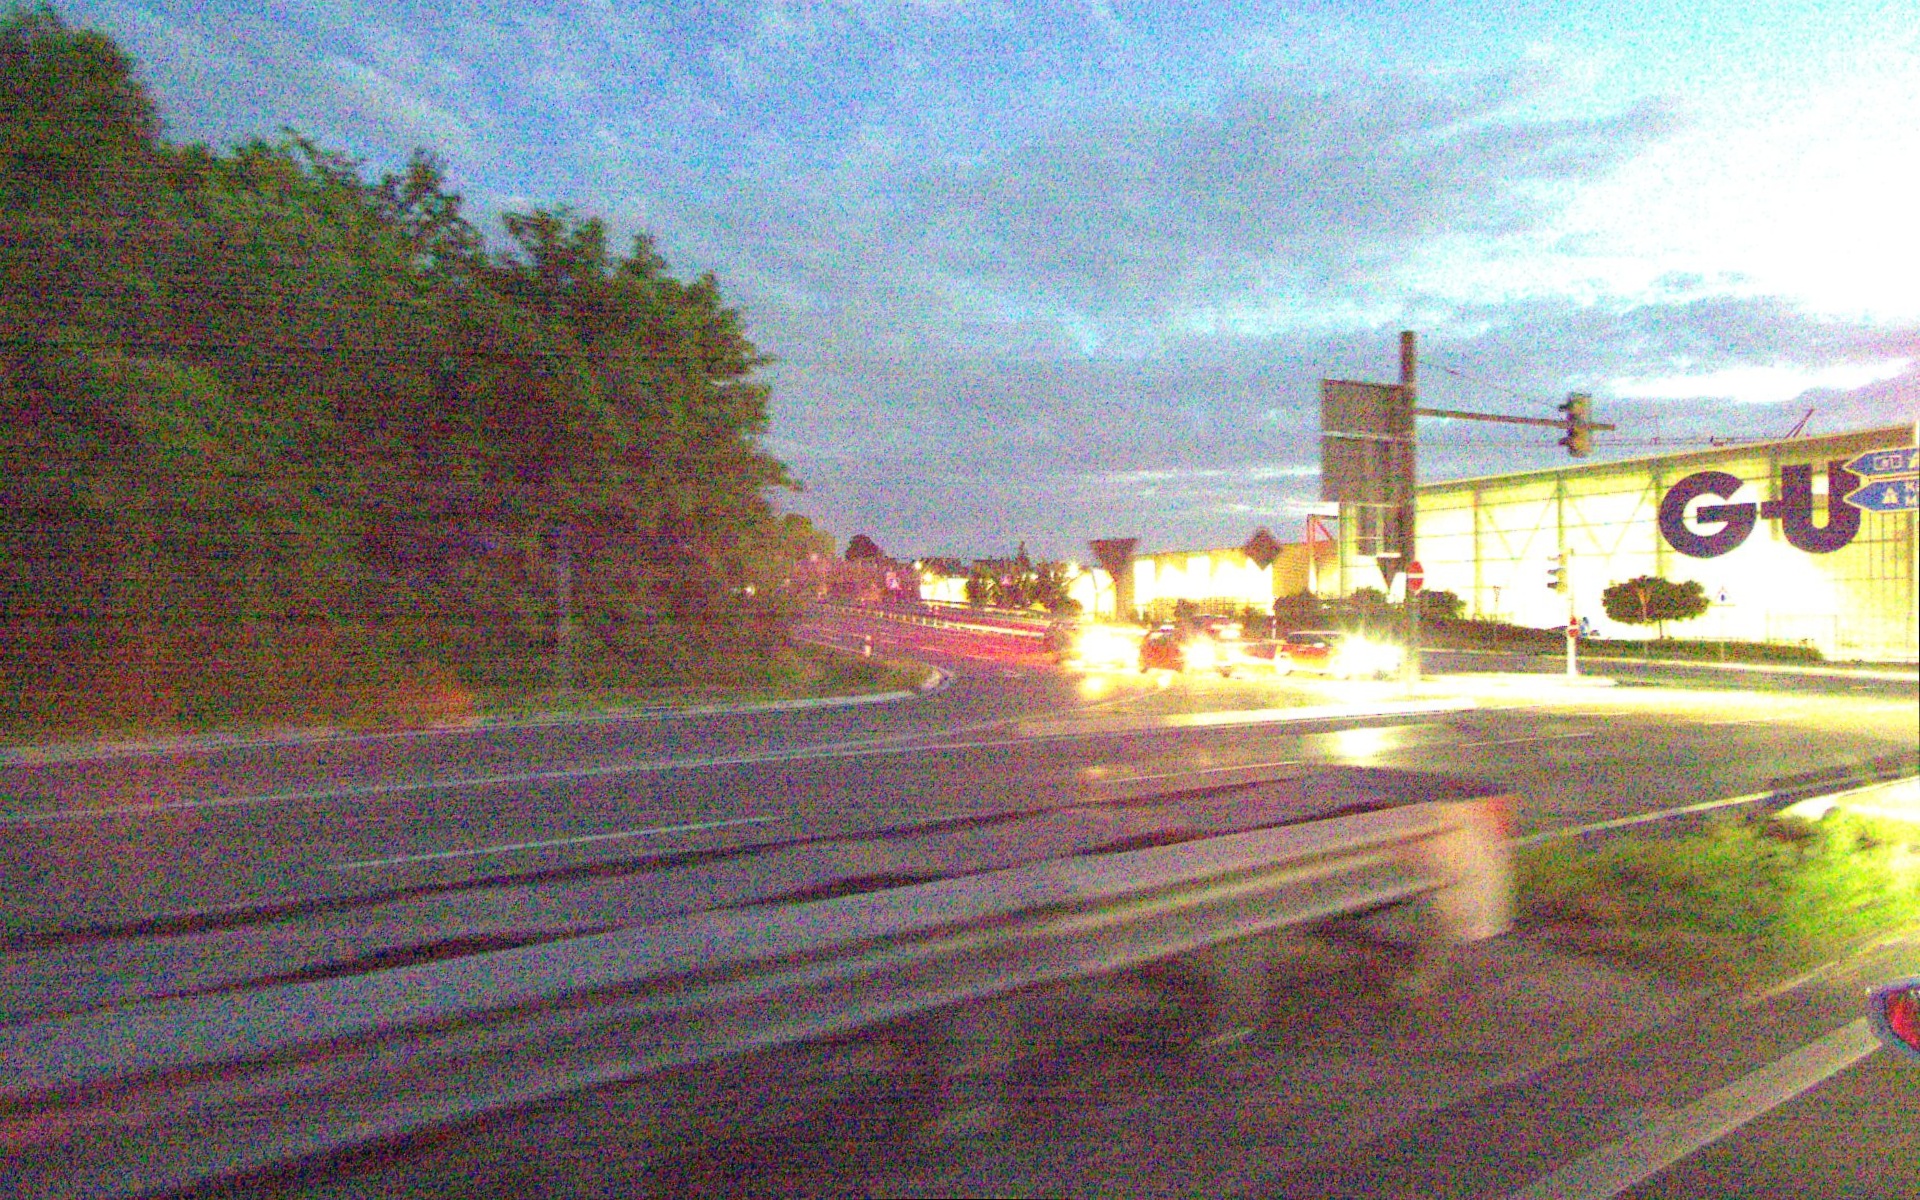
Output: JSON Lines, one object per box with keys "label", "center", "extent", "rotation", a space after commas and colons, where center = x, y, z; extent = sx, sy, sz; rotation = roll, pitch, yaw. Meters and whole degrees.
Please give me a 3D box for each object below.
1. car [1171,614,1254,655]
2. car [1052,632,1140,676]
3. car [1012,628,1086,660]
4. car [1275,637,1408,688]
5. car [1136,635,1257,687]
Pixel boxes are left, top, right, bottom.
{"label": "car", "center": [13.760, 1.826, 54.857], "extent": [3.946, 2.040, 1.988], "rotation": [2, 0, 45]}
{"label": "car", "center": [5.128, 2.004, 38.358], "extent": [1.664, 1.479, 3.792], "rotation": [0, 0, -22]}
{"label": "car", "center": [4.253, 2.089, 48.596], "extent": [1.971, 1.416, 3.979], "rotation": [1, -1, -23]}
{"label": "car", "center": [11.855, 1.924, 31.465], "extent": [1.681, 1.494, 3.848], "rotation": [2, -3, -24]}
{"label": "car", "center": [7.381, 1.881, 31.731], "extent": [1.735, 1.479, 3.979], "rotation": [2, -2, -22]}
